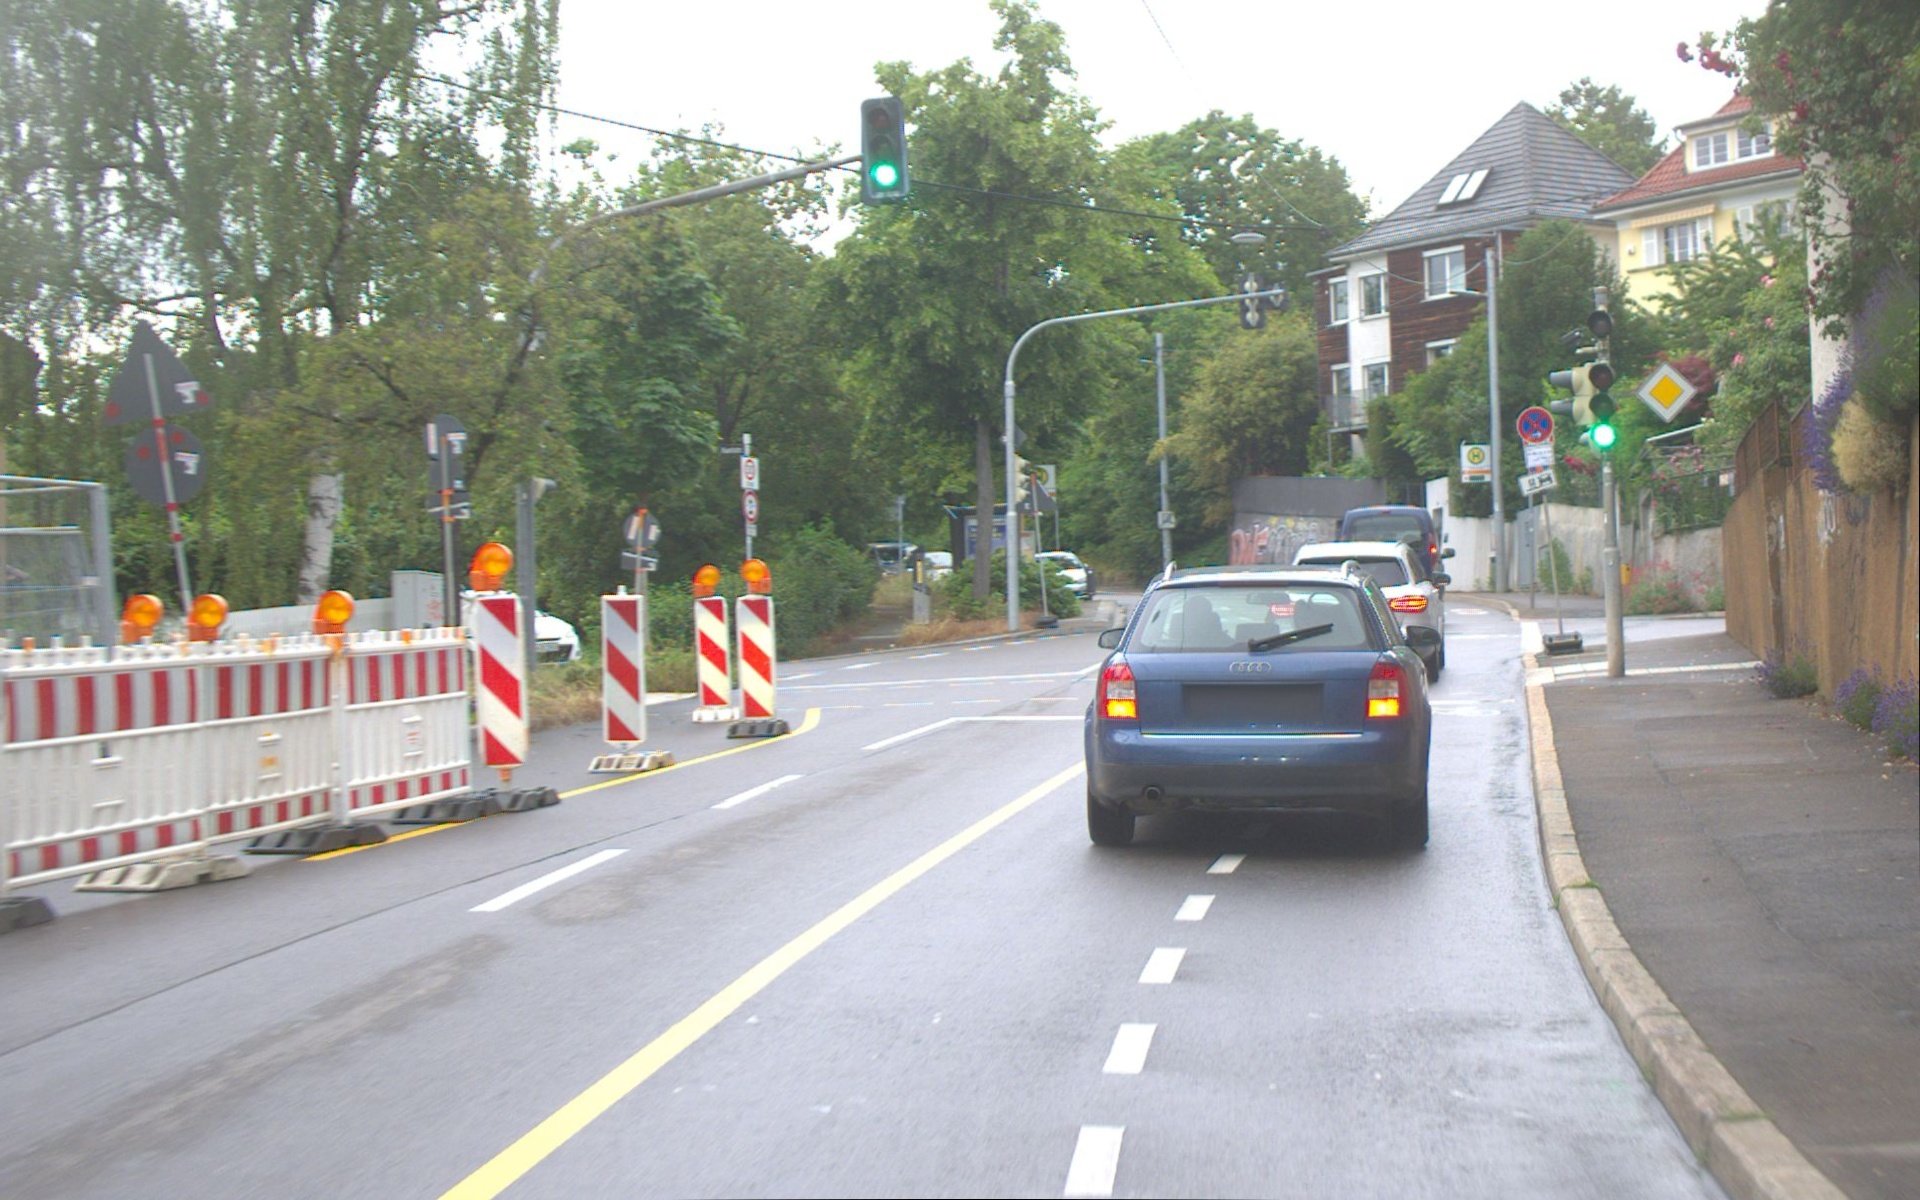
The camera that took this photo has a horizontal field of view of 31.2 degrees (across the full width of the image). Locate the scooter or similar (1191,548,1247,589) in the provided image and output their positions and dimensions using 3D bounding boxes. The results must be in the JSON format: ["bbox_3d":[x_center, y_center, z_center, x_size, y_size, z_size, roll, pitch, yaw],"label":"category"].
[{"bbox_3d":[8.972,-1.096,119.181,1.834,1.310,0.600,3,-2,-3],"label":"scooter or similar"}]

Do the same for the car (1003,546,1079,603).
[{"bbox_3d":[2.196,-0.700,93.581,1.673,1.422,4.001,-3,1,-3],"label":"car"}]

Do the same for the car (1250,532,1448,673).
[{"bbox_3d":[4.220,0.026,36.779,1.909,1.384,4.349,1,0,9],"label":"car"}]

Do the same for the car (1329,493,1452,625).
[{"bbox_3d":[6.703,-0.655,53.308,1.731,1.888,4.054,-3,1,8],"label":"car"}]

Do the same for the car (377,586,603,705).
[{"bbox_3d":[-7.084,0.703,51.523,1.684,1.504,4.011,-4,0,-33],"label":"car"}]

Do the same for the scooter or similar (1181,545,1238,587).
[{"bbox_3d":[8.588,-1.159,118.224,1.834,1.310,0.600,3,-2,-3],"label":"scooter or similar"}]

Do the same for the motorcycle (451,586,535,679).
[{"bbox_3d":[-6.056,0.409,44.664,0.591,1.127,1.843,-3,1,7],"label":"motorcycle"}]

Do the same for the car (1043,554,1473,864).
[{"bbox_3d":[1.708,0.486,18.453,1.778,1.434,3.998,0,1,13],"label":"car"}]
